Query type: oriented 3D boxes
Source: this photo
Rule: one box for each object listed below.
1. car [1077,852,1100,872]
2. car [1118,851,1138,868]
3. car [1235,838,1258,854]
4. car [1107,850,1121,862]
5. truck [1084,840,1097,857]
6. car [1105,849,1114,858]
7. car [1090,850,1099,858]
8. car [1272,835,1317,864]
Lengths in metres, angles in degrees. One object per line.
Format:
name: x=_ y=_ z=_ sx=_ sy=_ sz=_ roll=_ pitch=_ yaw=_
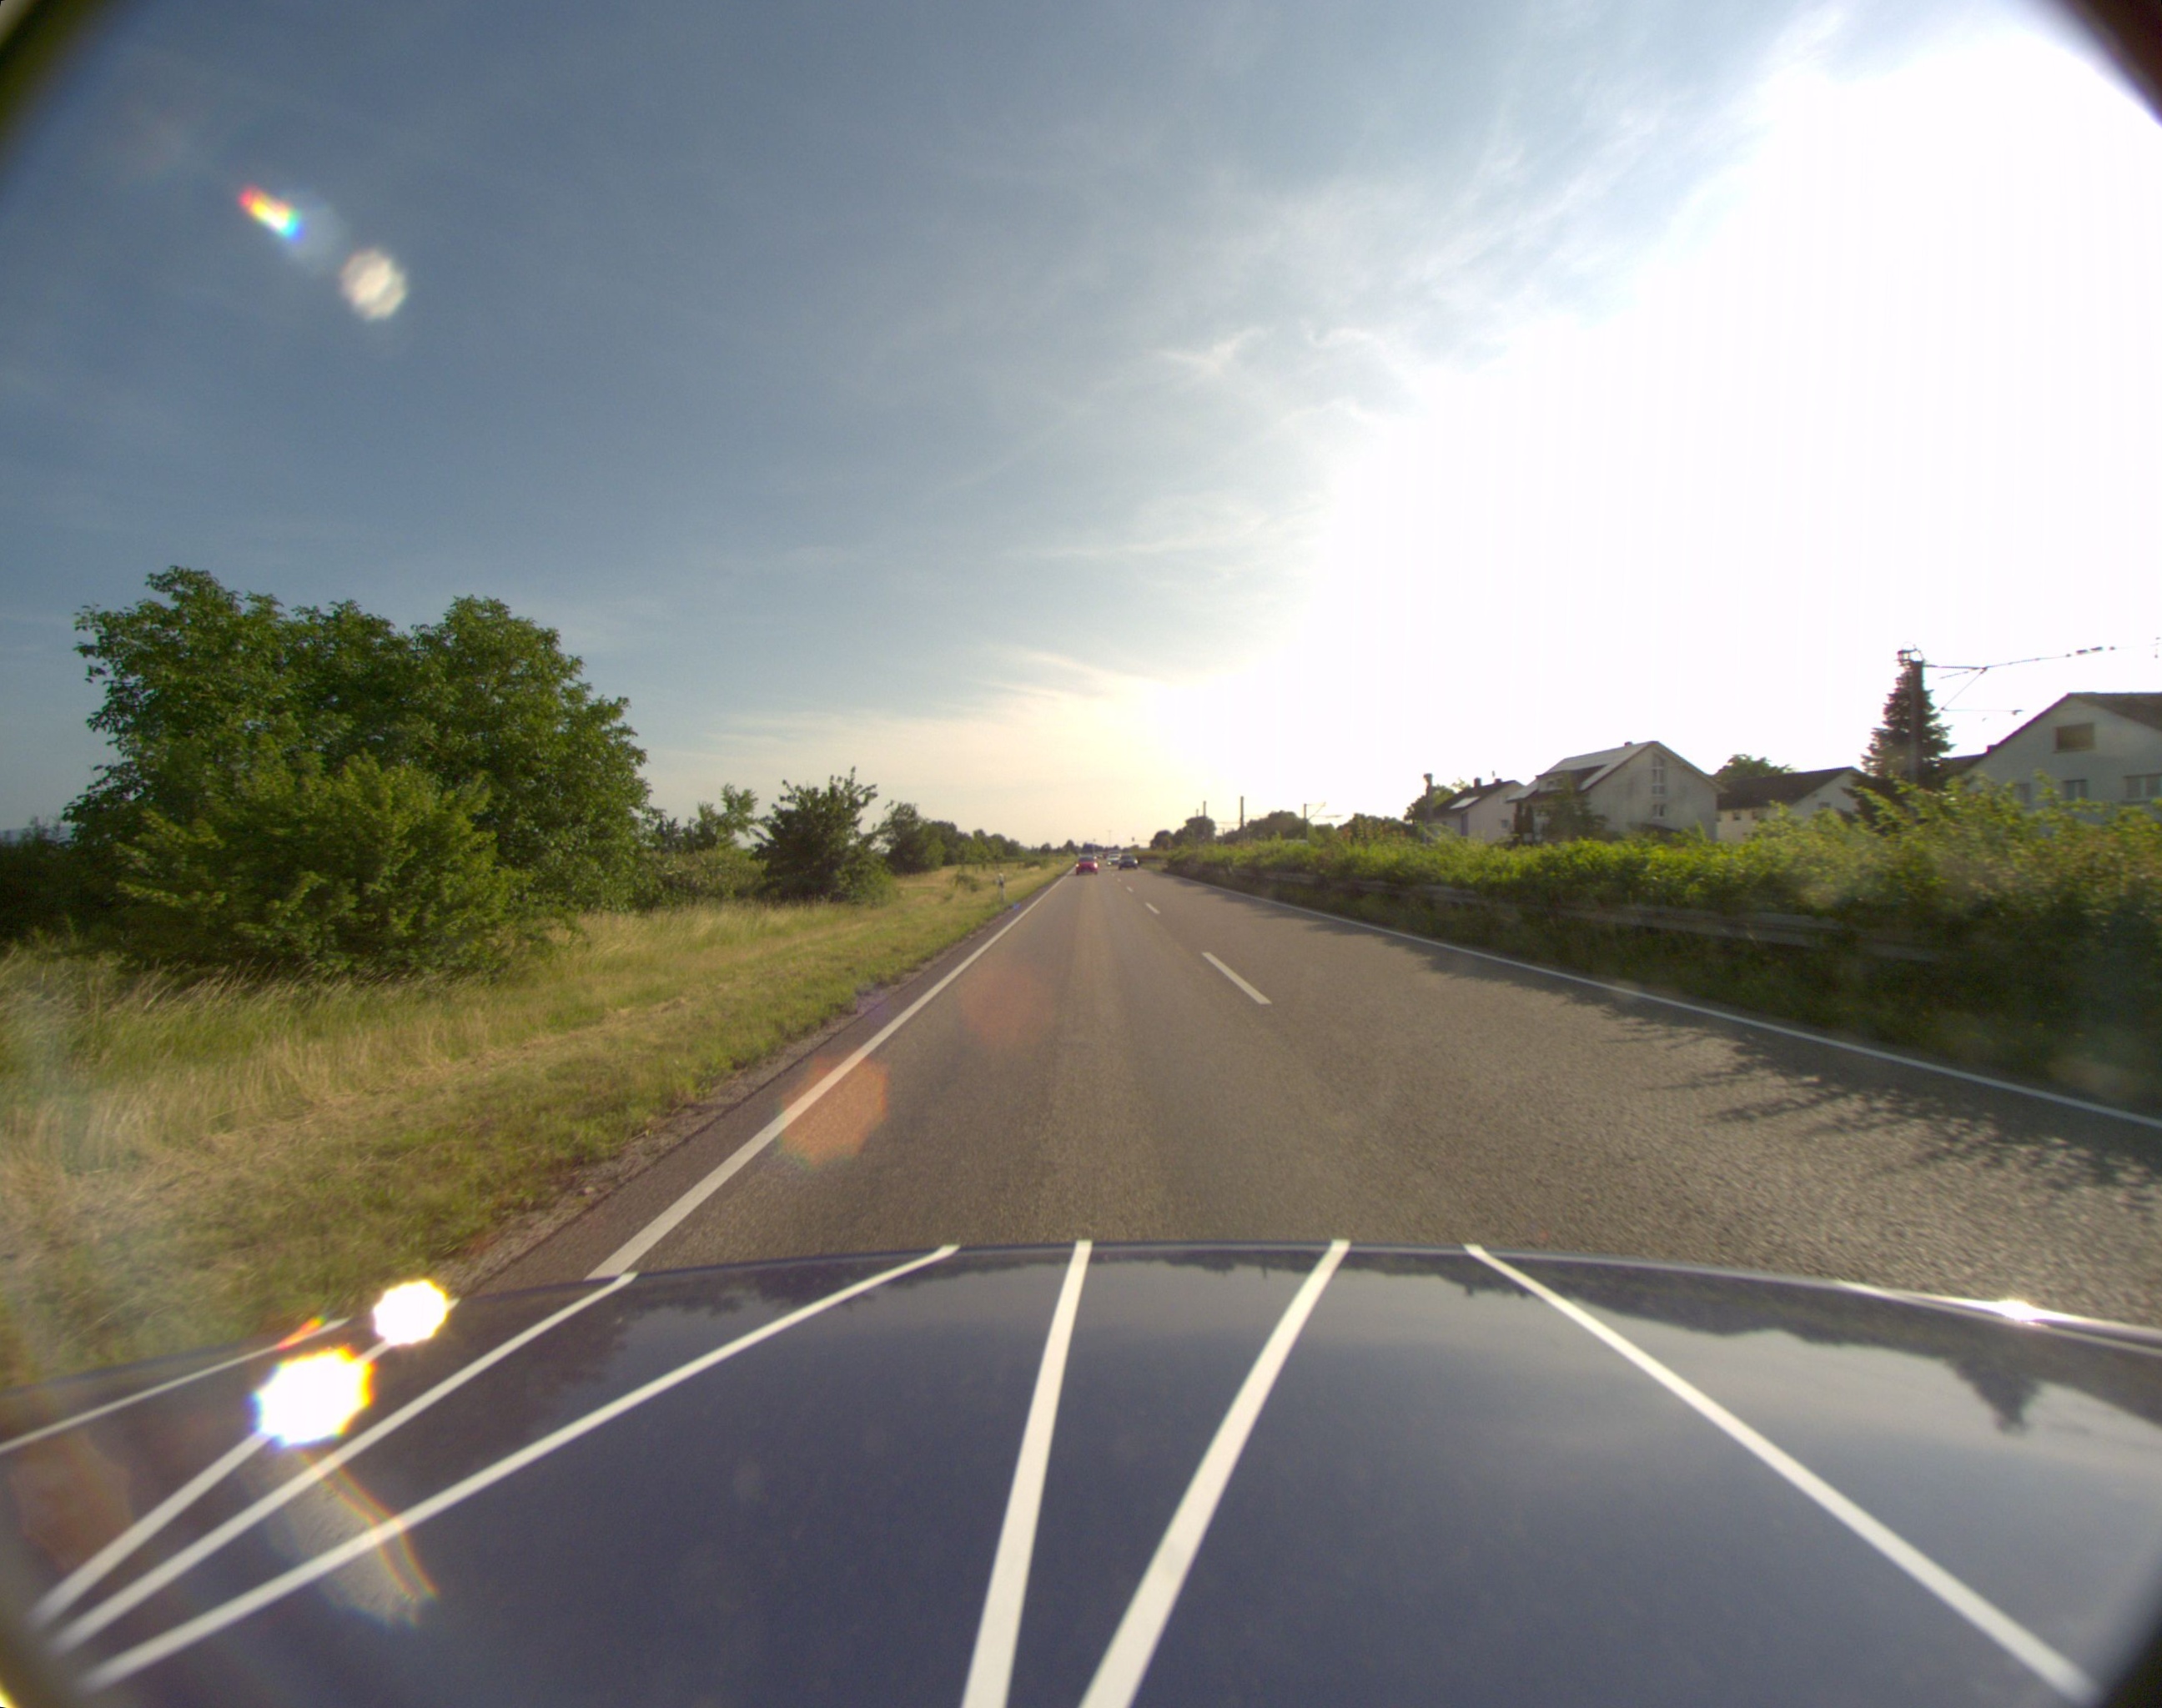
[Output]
car: x=0.652 y=0.653 z=61.436 sx=1.735 sy=1.467 sz=4.000 roll=-3 pitch=0 yaw=1
car: x=4.526 y=0.472 z=73.499 sx=1.636 sy=1.500 sz=4.000 roll=-3 pitch=0 yaw=1
car: x=20.499 y=-0.988 z=94.117 sx=1.998 sy=1.740 sz=4.000 roll=-3 pitch=0 yaw=1
car: x=4.218 y=0.264 z=96.987 sx=1.636 sy=1.442 sz=4.000 roll=-3 pitch=0 yaw=1
truck: x=2.307 y=-1.353 z=185.077 sx=2.849 sy=3.896 sz=10.104 roll=-3 pitch=0 yaw=1
car: x=6.509 y=-0.190 z=172.222 sx=1.998 sy=2.002 sz=4.000 roll=-2 pitch=0 yaw=1
car: x=2.785 y=-0.022 z=154.718 sx=1.636 sy=1.442 sz=4.000 roll=-3 pitch=0 yaw=1
car: x=16.265 y=-0.330 z=58.085 sx=1.998 sy=2.002 sz=4.871 roll=-3 pitch=0 yaw=1
